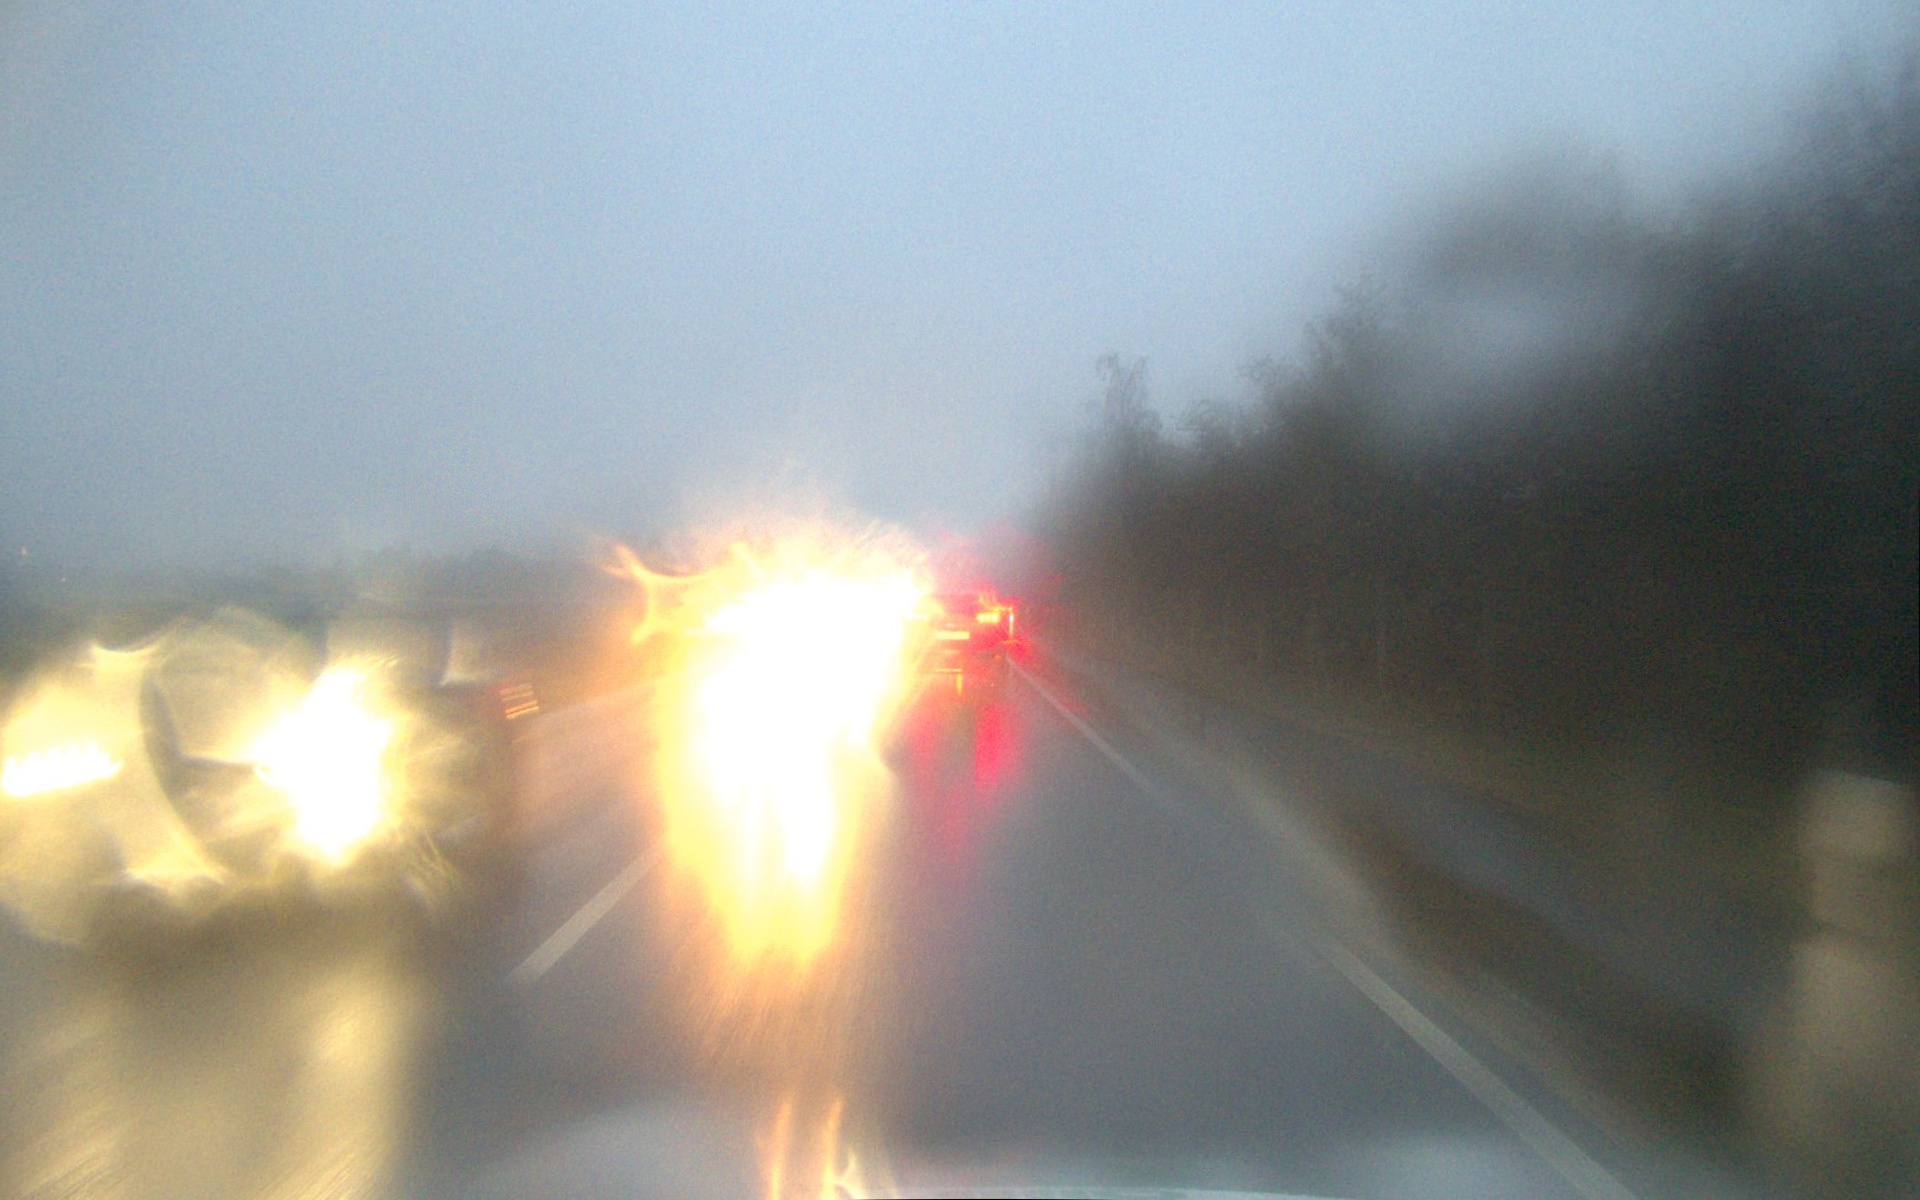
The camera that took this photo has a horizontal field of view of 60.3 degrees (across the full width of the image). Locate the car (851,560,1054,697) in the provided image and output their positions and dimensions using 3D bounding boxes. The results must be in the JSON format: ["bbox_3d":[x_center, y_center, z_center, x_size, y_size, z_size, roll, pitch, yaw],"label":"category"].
[{"bbox_3d":[-0.174,0.417,28.737,3.100,2.071,6.850,-1,0,-1],"label":"car"}]

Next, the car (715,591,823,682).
[{"bbox_3d":[-4.346,0.779,38.387,1.953,1.903,4.951,-2,0,-1],"label":"car"}]

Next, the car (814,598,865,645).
[{"bbox_3d":[-4.643,0.808,64.246,1.694,1.675,4.260,-3,0,-1],"label":"car"}]

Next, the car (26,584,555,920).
[{"bbox_3d":[-3.552,0.714,9.473,1.593,1.498,3.511,-2,0,-1],"label":"car"}]
